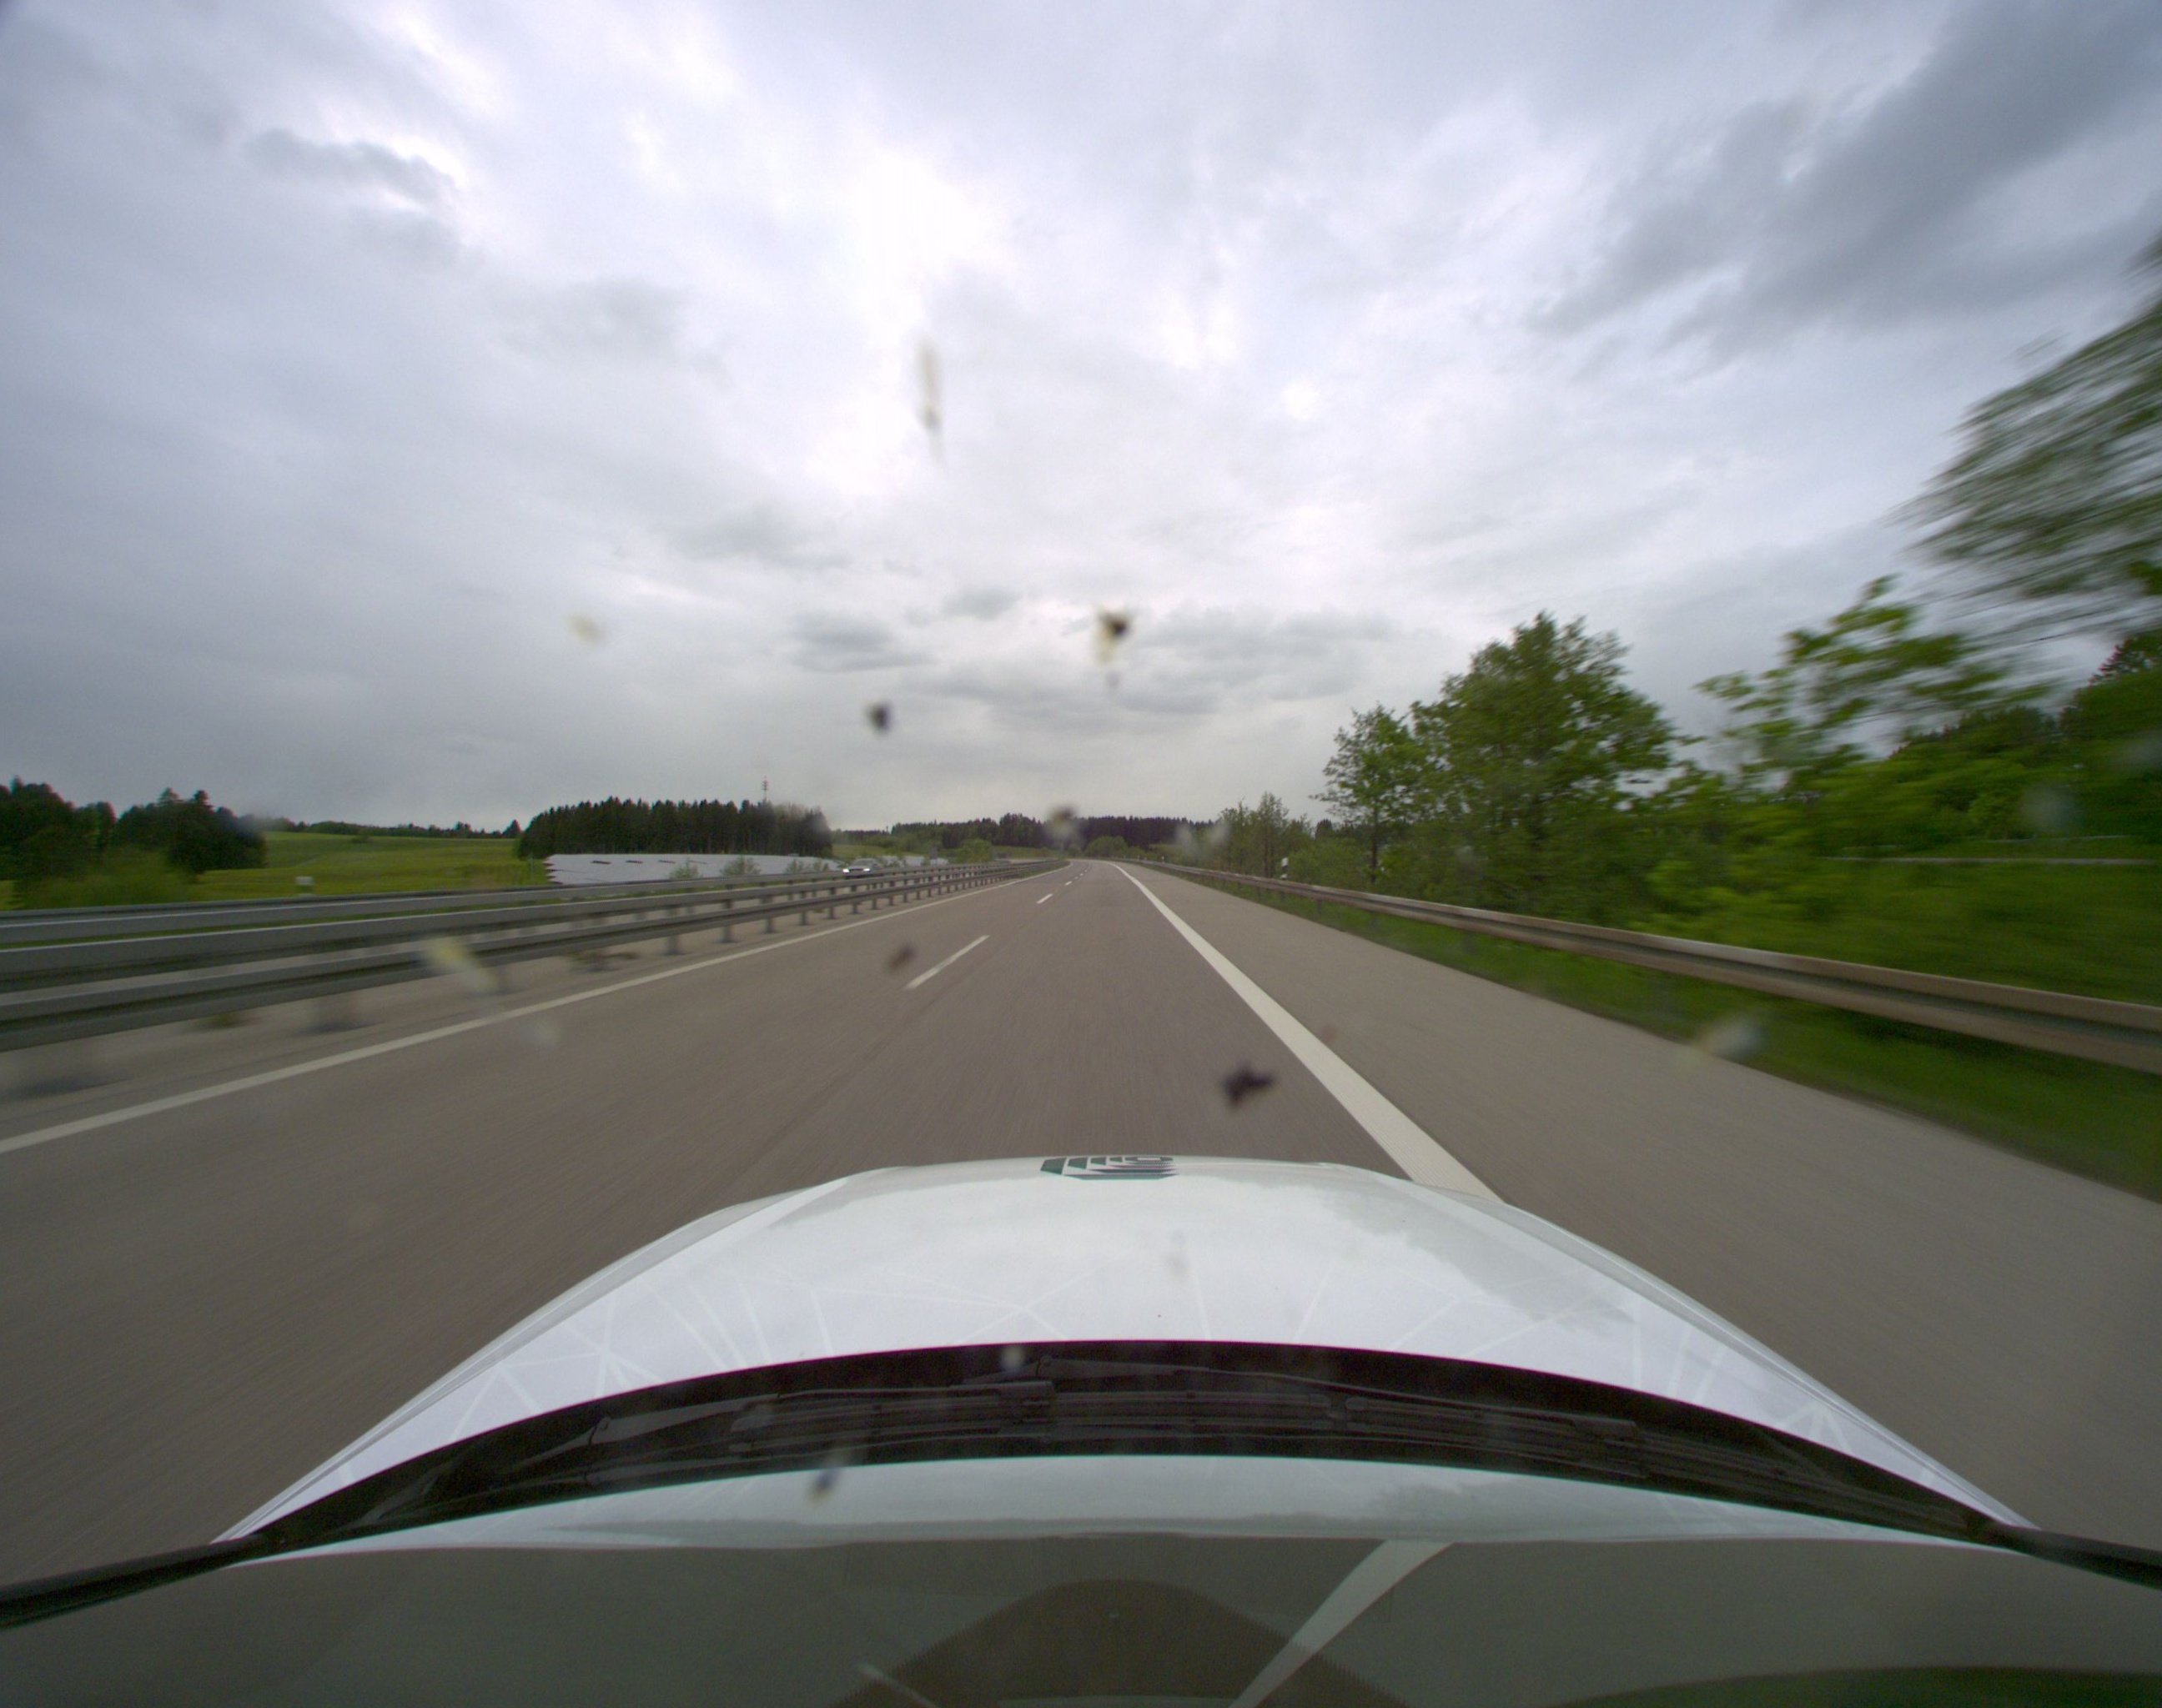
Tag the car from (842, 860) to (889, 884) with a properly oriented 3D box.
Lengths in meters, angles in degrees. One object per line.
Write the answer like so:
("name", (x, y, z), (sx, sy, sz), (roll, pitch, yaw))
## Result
("car", (-15.192, 1.270, 57.762), (1.987, 1.617, 4.847), (-1, -1, 1))
